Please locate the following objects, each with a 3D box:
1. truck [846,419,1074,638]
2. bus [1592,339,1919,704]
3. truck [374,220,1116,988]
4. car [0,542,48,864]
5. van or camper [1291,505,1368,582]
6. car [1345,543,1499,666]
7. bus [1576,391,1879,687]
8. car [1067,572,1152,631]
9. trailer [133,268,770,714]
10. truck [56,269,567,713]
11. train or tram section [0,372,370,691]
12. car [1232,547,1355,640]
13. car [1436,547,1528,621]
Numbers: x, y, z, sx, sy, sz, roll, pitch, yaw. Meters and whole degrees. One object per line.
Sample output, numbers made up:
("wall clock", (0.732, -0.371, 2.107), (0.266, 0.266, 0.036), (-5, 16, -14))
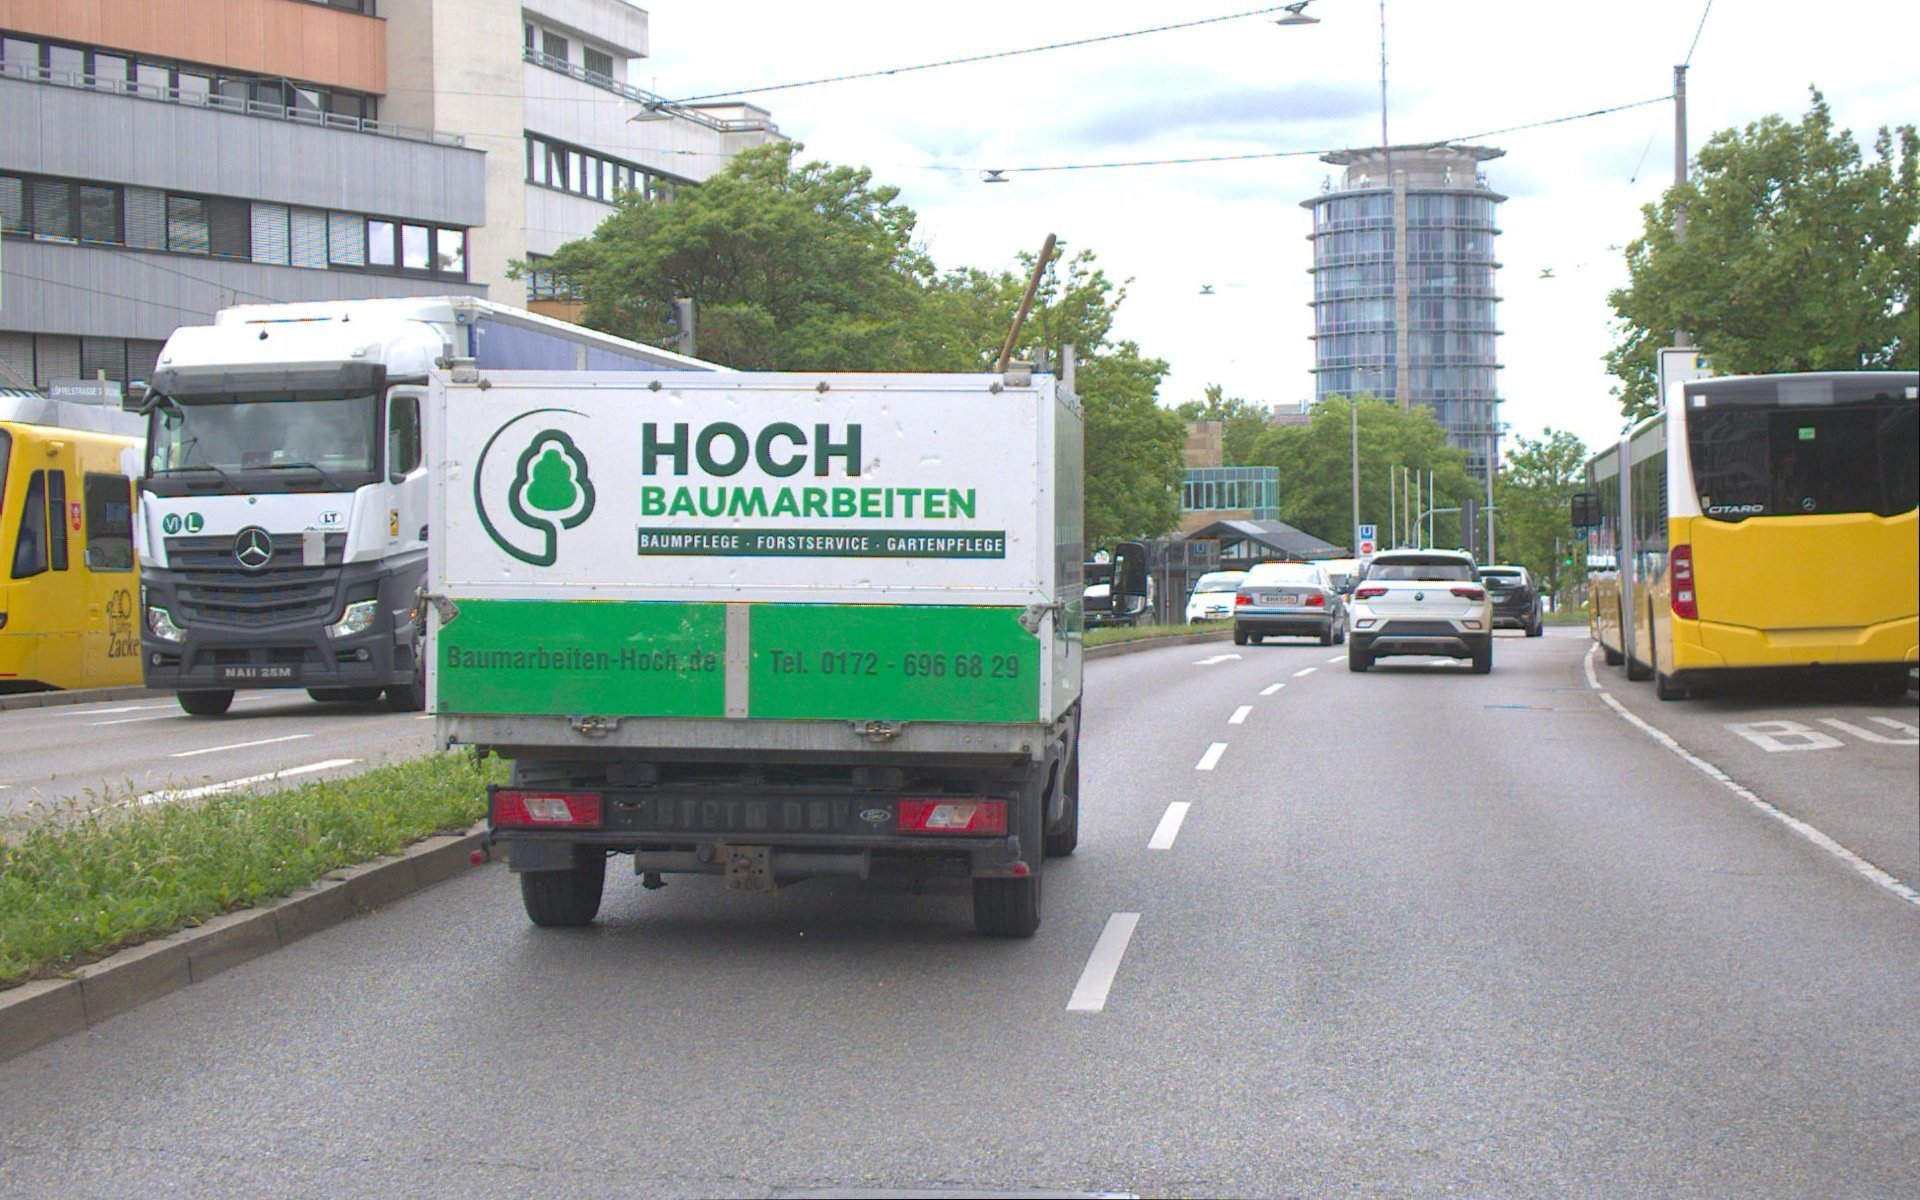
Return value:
("truck", (0.137, -1.359, 66.876), (2.939, 3.944, 9.161), (0, 1, 10))
("bus", (8.313, -0.737, 35.463), (3.037, 3.225, 9.335), (-1, 0, 8))
("truck", (-0.595, -0.052, 14.999), (2.471, 2.602, 6.547), (0, 1, 3))
("car", (-5.429, 0.501, 13.888), (1.994, 1.454, 4.773), (0, 1, 3))
("van or camper", (13.167, -1.962, 122.277), (1.994, 2.589, 6.112), (-2, 0, 12))
("car", (6.026, 0.015, 44.732), (1.868, 1.500, 4.772), (0, 1, 8))
("bus", (9.584, -0.725, 43.955), (2.983, 3.230, 9.862), (3, 1, 9))
("car", (3.685, 0.024, 84.252), (1.506, 1.341, 3.947), (-2, 0, 10))
("trailer", (-5.320, -1.204, 40.449), (3.103, 4.255, 14.842), (0, 1, 9))
("truck", (-6.274, -1.049, 34.391), (3.092, 4.008, 6.154), (0, 1, 9))
("train or tram section", (-11.006, -0.872, 44.717), (2.758, 3.573, 11.998), (0, 1, 9))
("car", (5.714, -0.139, 58.436), (1.868, 1.500, 4.772), (0, 1, 8))
("car", (11.063, -0.359, 73.009), (1.868, 1.500, 4.772), (0, 1, 8))
